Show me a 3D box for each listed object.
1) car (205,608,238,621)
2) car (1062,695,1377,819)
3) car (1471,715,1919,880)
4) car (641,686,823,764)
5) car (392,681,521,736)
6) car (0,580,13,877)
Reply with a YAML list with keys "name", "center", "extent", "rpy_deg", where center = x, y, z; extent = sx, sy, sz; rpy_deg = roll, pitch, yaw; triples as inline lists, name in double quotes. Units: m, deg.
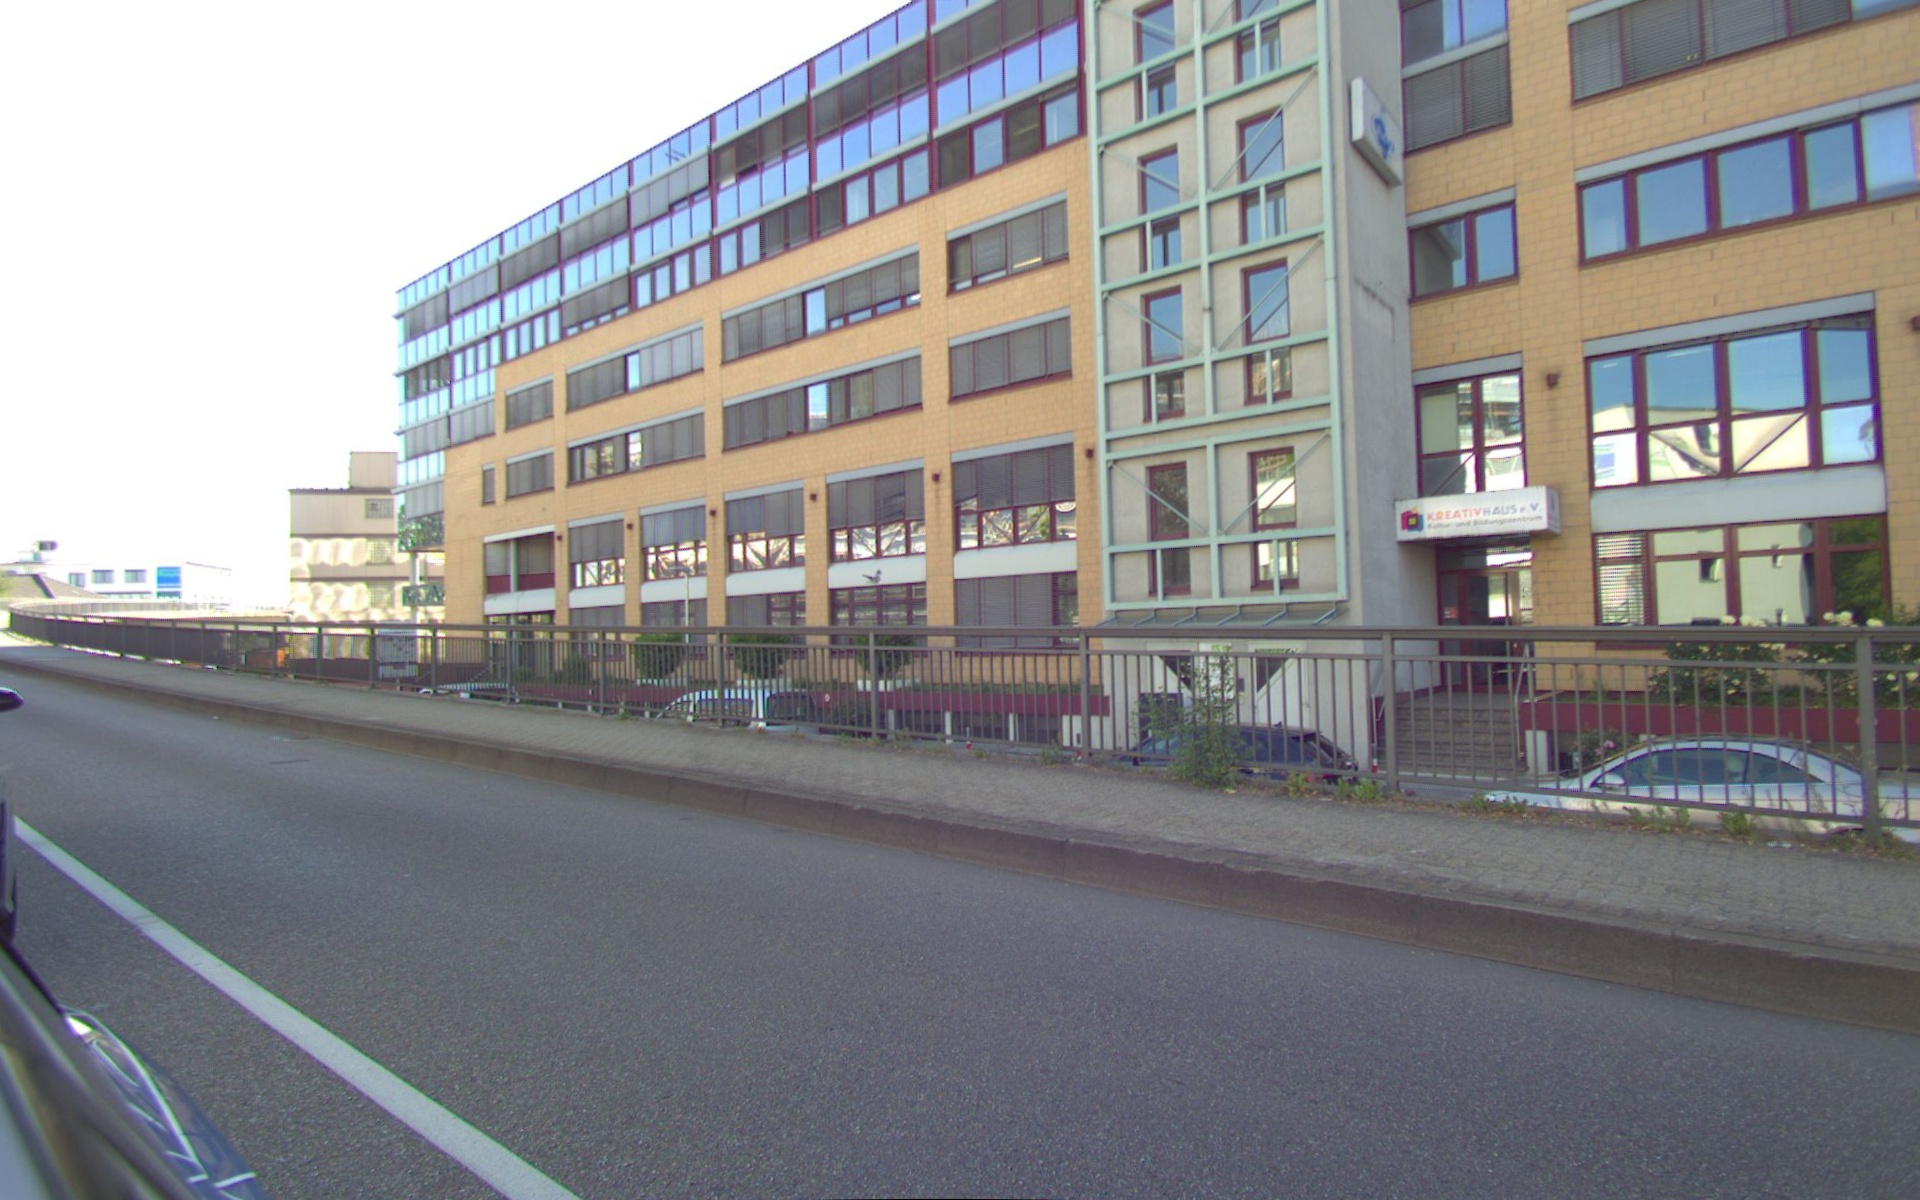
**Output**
- name: "car"
  center: [-88.776, 1.764, 121.700]
  extent: [1.920, 1.475, 4.012]
  rpy_deg: [5, -3, -18]
- name: "car"
  center: [3.383, 1.999, 13.597]
  extent: [3.805, 1.279, 1.560]
  rpy_deg: [-3, -4, 40]
- name: "car"
  center: [7.692, 1.879, 10.209]
  extent: [4.254, 1.175, 1.704]
  rpy_deg: [-3, -4, 40]
- name: "car"
  center: [-4.587, 2.418, 20.130]
  extent: [3.805, 1.279, 1.560]
  rpy_deg: [-3, -4, 40]
- name: "car"
  center: [-13.753, 2.917, 27.581]
  extent: [3.805, 1.279, 1.744]
  rpy_deg: [-3, -4, 40]
- name: "car"
  center: [-5.838, 0.795, 4.662]
  extent: [3.998, 1.660, 1.726]
  rpy_deg: [-3, -4, 41]
